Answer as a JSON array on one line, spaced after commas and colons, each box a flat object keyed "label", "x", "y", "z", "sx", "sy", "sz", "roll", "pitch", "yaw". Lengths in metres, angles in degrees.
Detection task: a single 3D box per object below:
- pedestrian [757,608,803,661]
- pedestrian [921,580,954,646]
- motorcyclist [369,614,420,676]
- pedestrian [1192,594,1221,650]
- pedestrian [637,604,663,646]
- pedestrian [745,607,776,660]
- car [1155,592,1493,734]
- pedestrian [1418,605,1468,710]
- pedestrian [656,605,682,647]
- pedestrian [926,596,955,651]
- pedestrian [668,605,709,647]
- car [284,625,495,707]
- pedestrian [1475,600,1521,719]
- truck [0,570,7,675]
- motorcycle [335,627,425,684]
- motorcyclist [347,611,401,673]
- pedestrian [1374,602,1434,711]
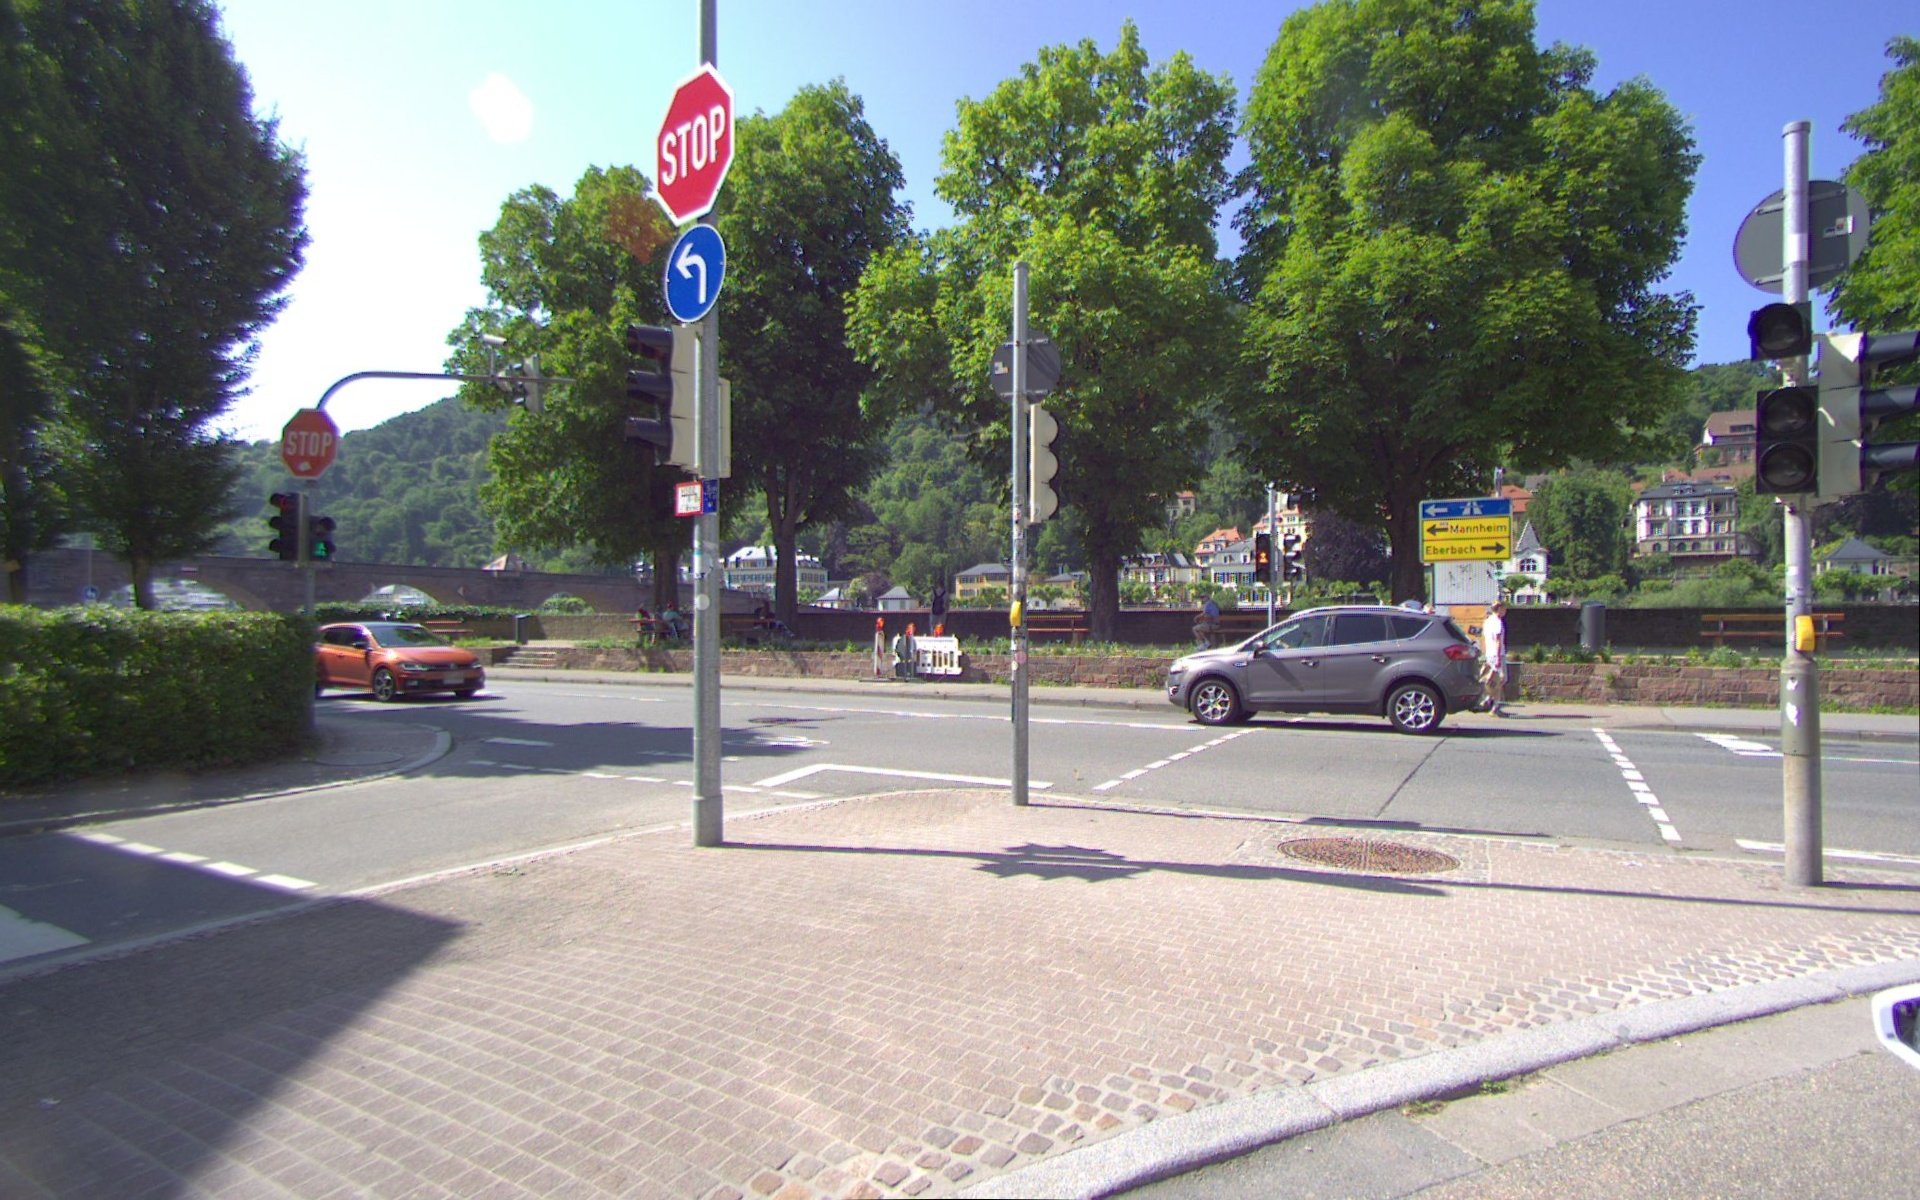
[{"label": "pedestrian", "x": -5.206, "y": 0.991, "z": 29.109, "sx": 0.460, "sy": 1.499, "sz": 1.381, "roll": -1, "pitch": -2, "yaw": 33}, {"label": "pedestrian", "x": -0.645, "y": 0.380, "z": 28.892, "sx": 0.749, "sy": 1.882, "sz": 0.757, "roll": 1, "pitch": -2, "yaw": 12}, {"label": "motorcyclist", "x": -14.175, "y": 1.126, "z": 25.177, "sx": 0.759, "sy": 1.513, "sz": 0.818, "roll": -1, "pitch": -2, "yaw": 27}, {"label": "pedestrian", "x": 5.582, "y": 0.496, "z": 22.737, "sx": 0.630, "sy": 1.244, "sz": 0.414, "roll": -1, "pitch": -2, "yaw": 15}, {"label": "pedestrian", "x": -9.743, "y": 0.787, "z": 31.574, "sx": 0.460, "sy": 1.287, "sz": 0.630, "roll": -1, "pitch": -2, "yaw": 33}, {"label": "pedestrian", "x": -5.792, "y": 0.970, "z": 29.189, "sx": 0.460, "sy": 1.513, "sz": 0.802, "roll": -1, "pitch": -2, "yaw": 33}, {"label": "car", "x": 5.204, "y": 0.851, "z": 14.472, "sx": 4.328, "sy": 1.776, "sz": 1.843, "roll": 0, "pitch": -4, "yaw": 27}, {"label": "pedestrian", "x": 8.417, "y": 1.005, "z": 17.524, "sx": 0.677, "sy": 1.792, "sz": 0.717, "roll": -1, "pitch": -3, "yaw": 21}, {"label": "pedestrian", "x": -9.014, "y": 0.798, "z": 31.095, "sx": 0.460, "sy": 1.287, "sz": 0.630, "roll": -1, "pitch": -2, "yaw": 33}, {"label": "pedestrian", "x": -0.633, "y": 0.751, "z": 32.416, "sx": 0.696, "sy": 1.754, "sz": 0.757, "roll": 0, "pitch": -2, "yaw": 19}, {"label": "pedestrian", "x": -8.395, "y": 0.814, "z": 31.066, "sx": 0.460, "sy": 1.287, "sz": 1.221, "roll": -1, "pitch": -2, "yaw": 33}, {"label": "car", "x": -10.896, "y": 1.182, "z": 19.159, "sx": 3.946, "sy": 1.424, "sz": 1.727, "roll": -1, "pitch": -2, "yaw": 30}, {"label": "pedestrian", "x": 8.481, "y": 0.924, "z": 15.860, "sx": 0.569, "sy": 1.825, "sz": 0.705, "roll": -1, "pitch": -2, "yaw": 25}, {"label": "truck", "x": -45.280, "y": 0.958, "z": 42.565, "sx": 12.532, "sy": 4.269, "sz": 3.210, "roll": -1, "pitch": -2, "yaw": 28}, {"label": "motorcycle", "x": -14.654, "y": 1.390, "z": 25.368, "sx": 2.426, "sy": 1.394, "sz": 0.762, "roll": -1, "pitch": -2, "yaw": 27}, {"label": "motorcyclist", "x": -14.887, "y": 1.058, "z": 25.531, "sx": 0.858, "sy": 1.514, "sz": 0.818, "roll": 0, "pitch": -1, "yaw": 27}, {"label": "pedestrian", "x": 7.577, "y": 0.973, "z": 17.170, "sx": 0.709, "sy": 1.825, "sz": 0.634, "roll": 0, "pitch": -3, "yaw": 4}]
